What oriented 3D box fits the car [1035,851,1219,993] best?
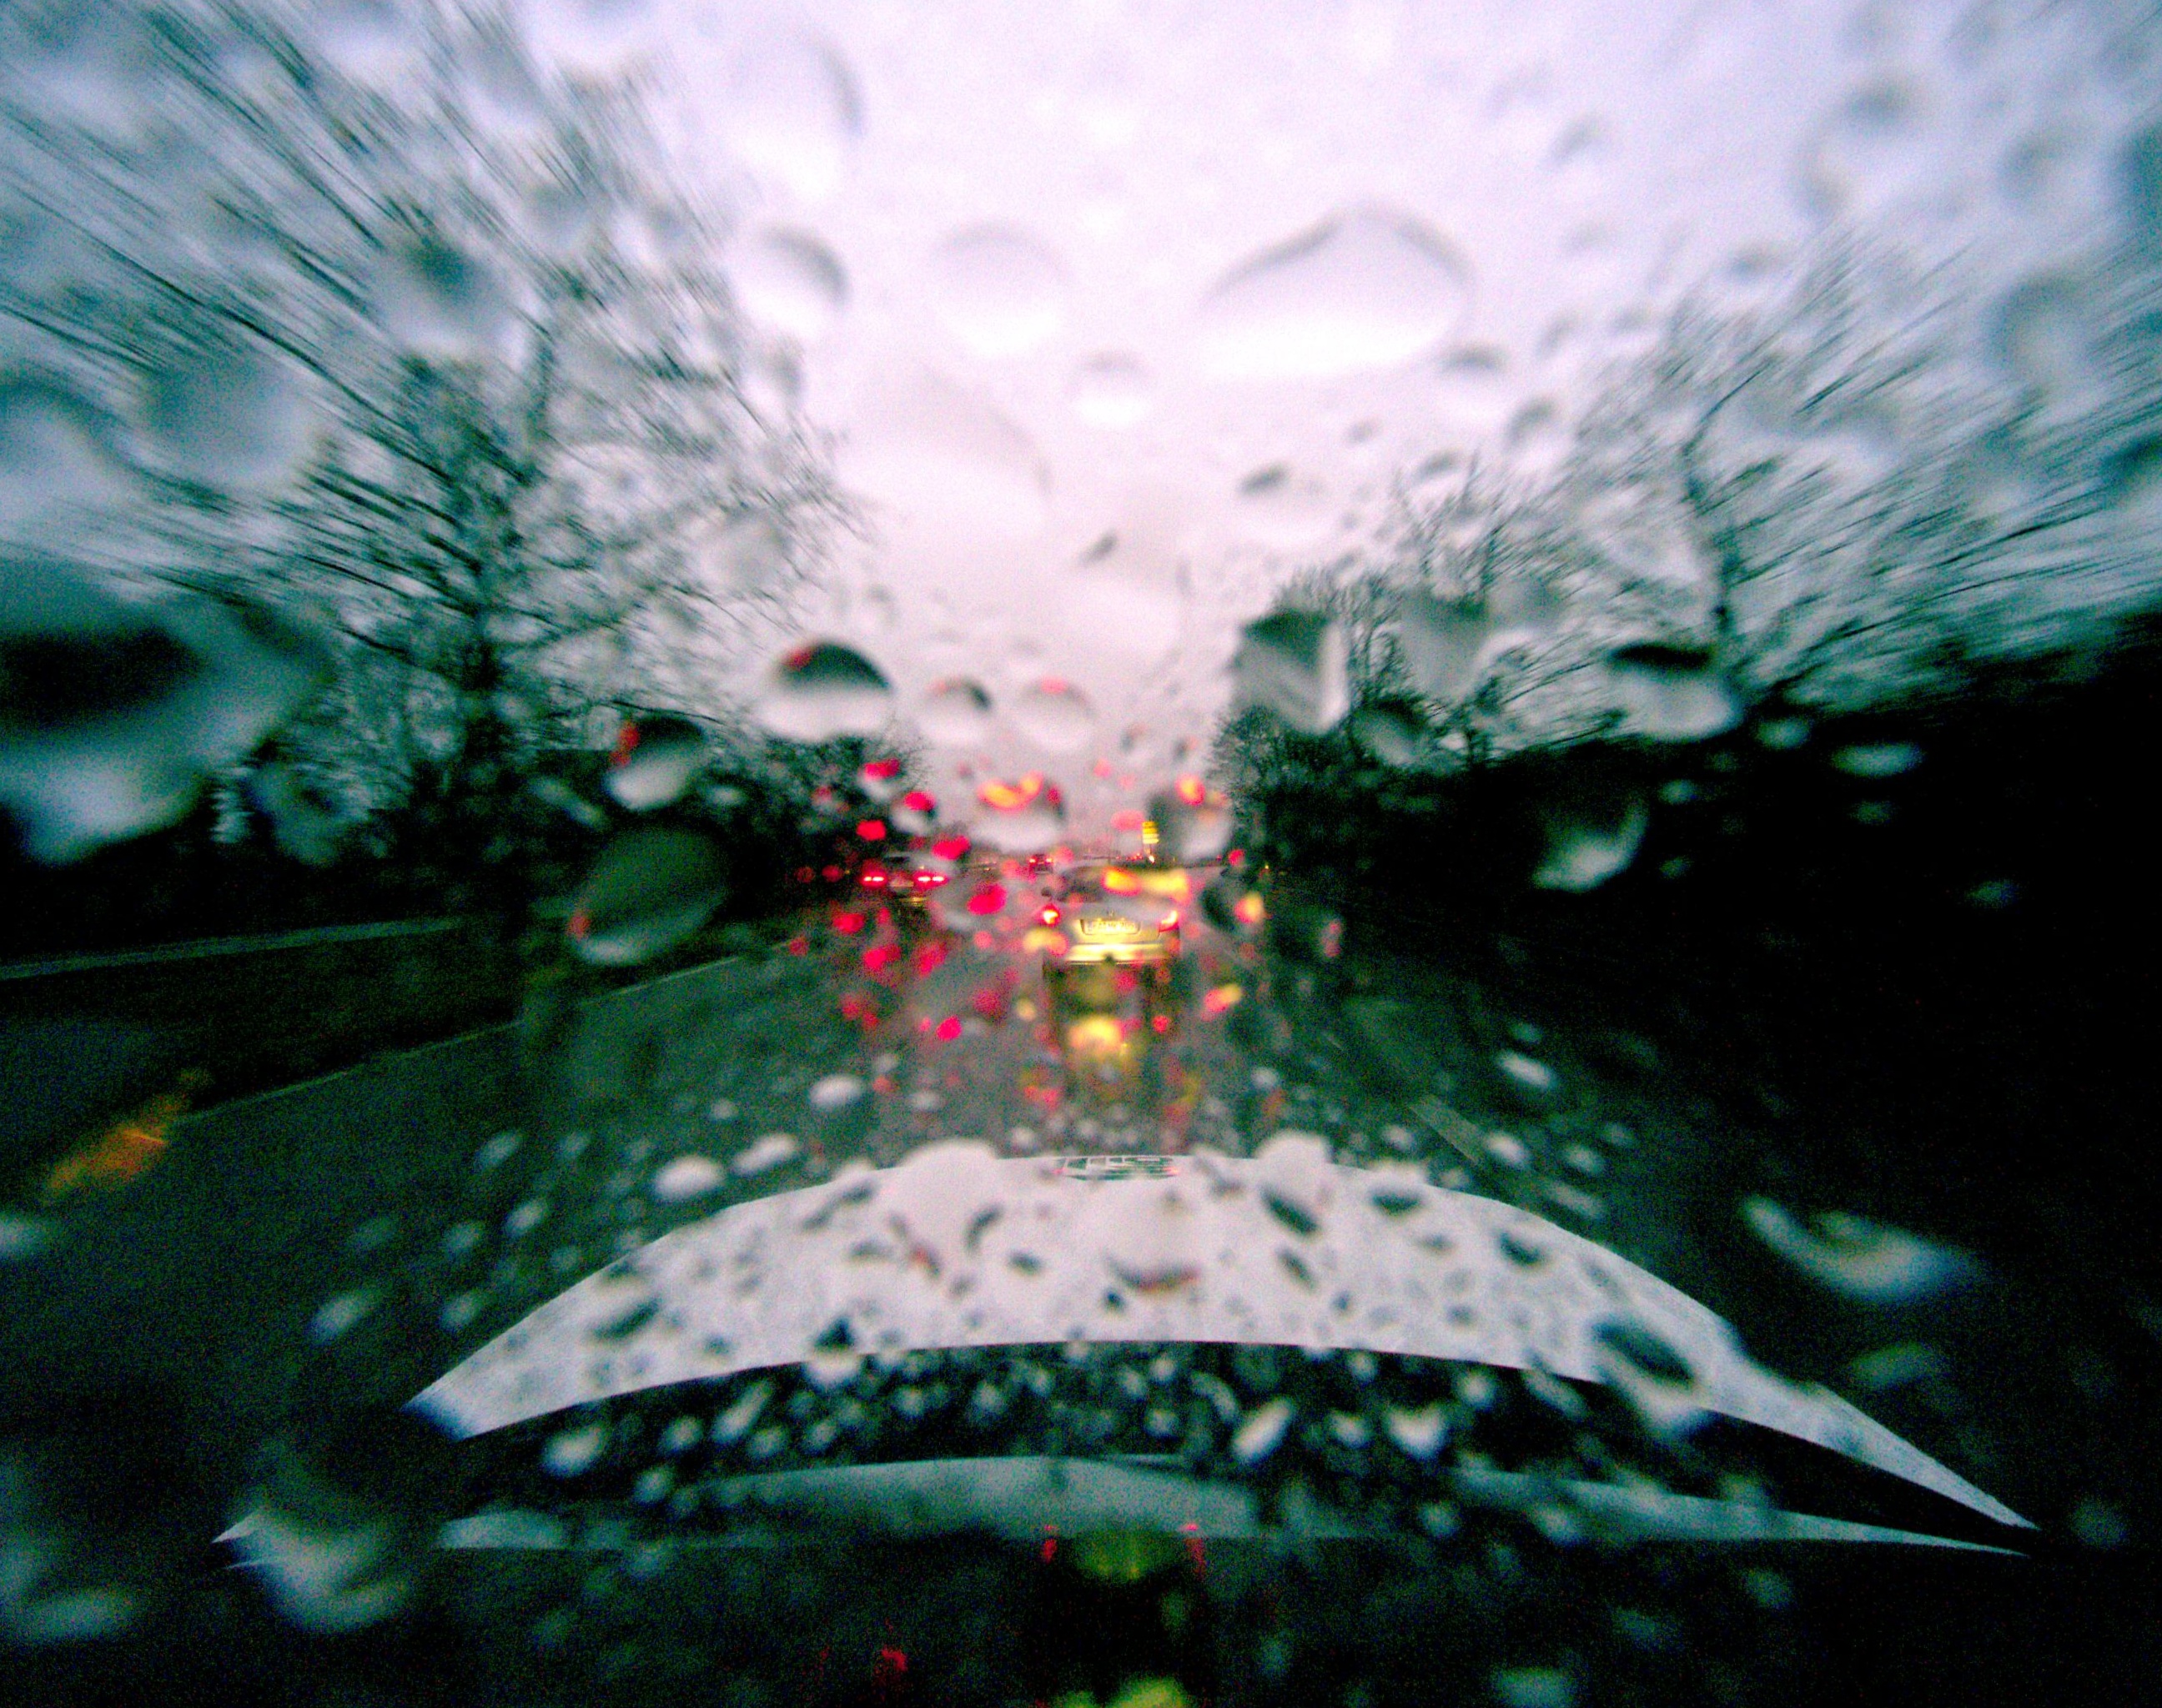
[{"bbox_3d":[0.591,0.771,11.018,1.986,1.500,4.140,-2,-1,2],"label":"car"}]

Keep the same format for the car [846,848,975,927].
[{"bbox_3d":[-3.740,0.692,18.651,1.987,1.601,4.309,0,0,1],"label":"car"}]

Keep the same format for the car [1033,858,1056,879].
[{"bbox_3d":[-2.946,1.157,65.535,1.785,1.545,3.996,-1,0,-2],"label":"car"}]

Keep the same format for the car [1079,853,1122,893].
[{"bbox_3d":[0.951,0.853,38.599,1.890,1.767,4.311,-1,0,2],"label":"car"}]

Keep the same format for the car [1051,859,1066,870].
[{"bbox_3d":[-3.047,1.417,112.949,1.782,1.483,4.002,-2,0,2],"label":"car"}]
